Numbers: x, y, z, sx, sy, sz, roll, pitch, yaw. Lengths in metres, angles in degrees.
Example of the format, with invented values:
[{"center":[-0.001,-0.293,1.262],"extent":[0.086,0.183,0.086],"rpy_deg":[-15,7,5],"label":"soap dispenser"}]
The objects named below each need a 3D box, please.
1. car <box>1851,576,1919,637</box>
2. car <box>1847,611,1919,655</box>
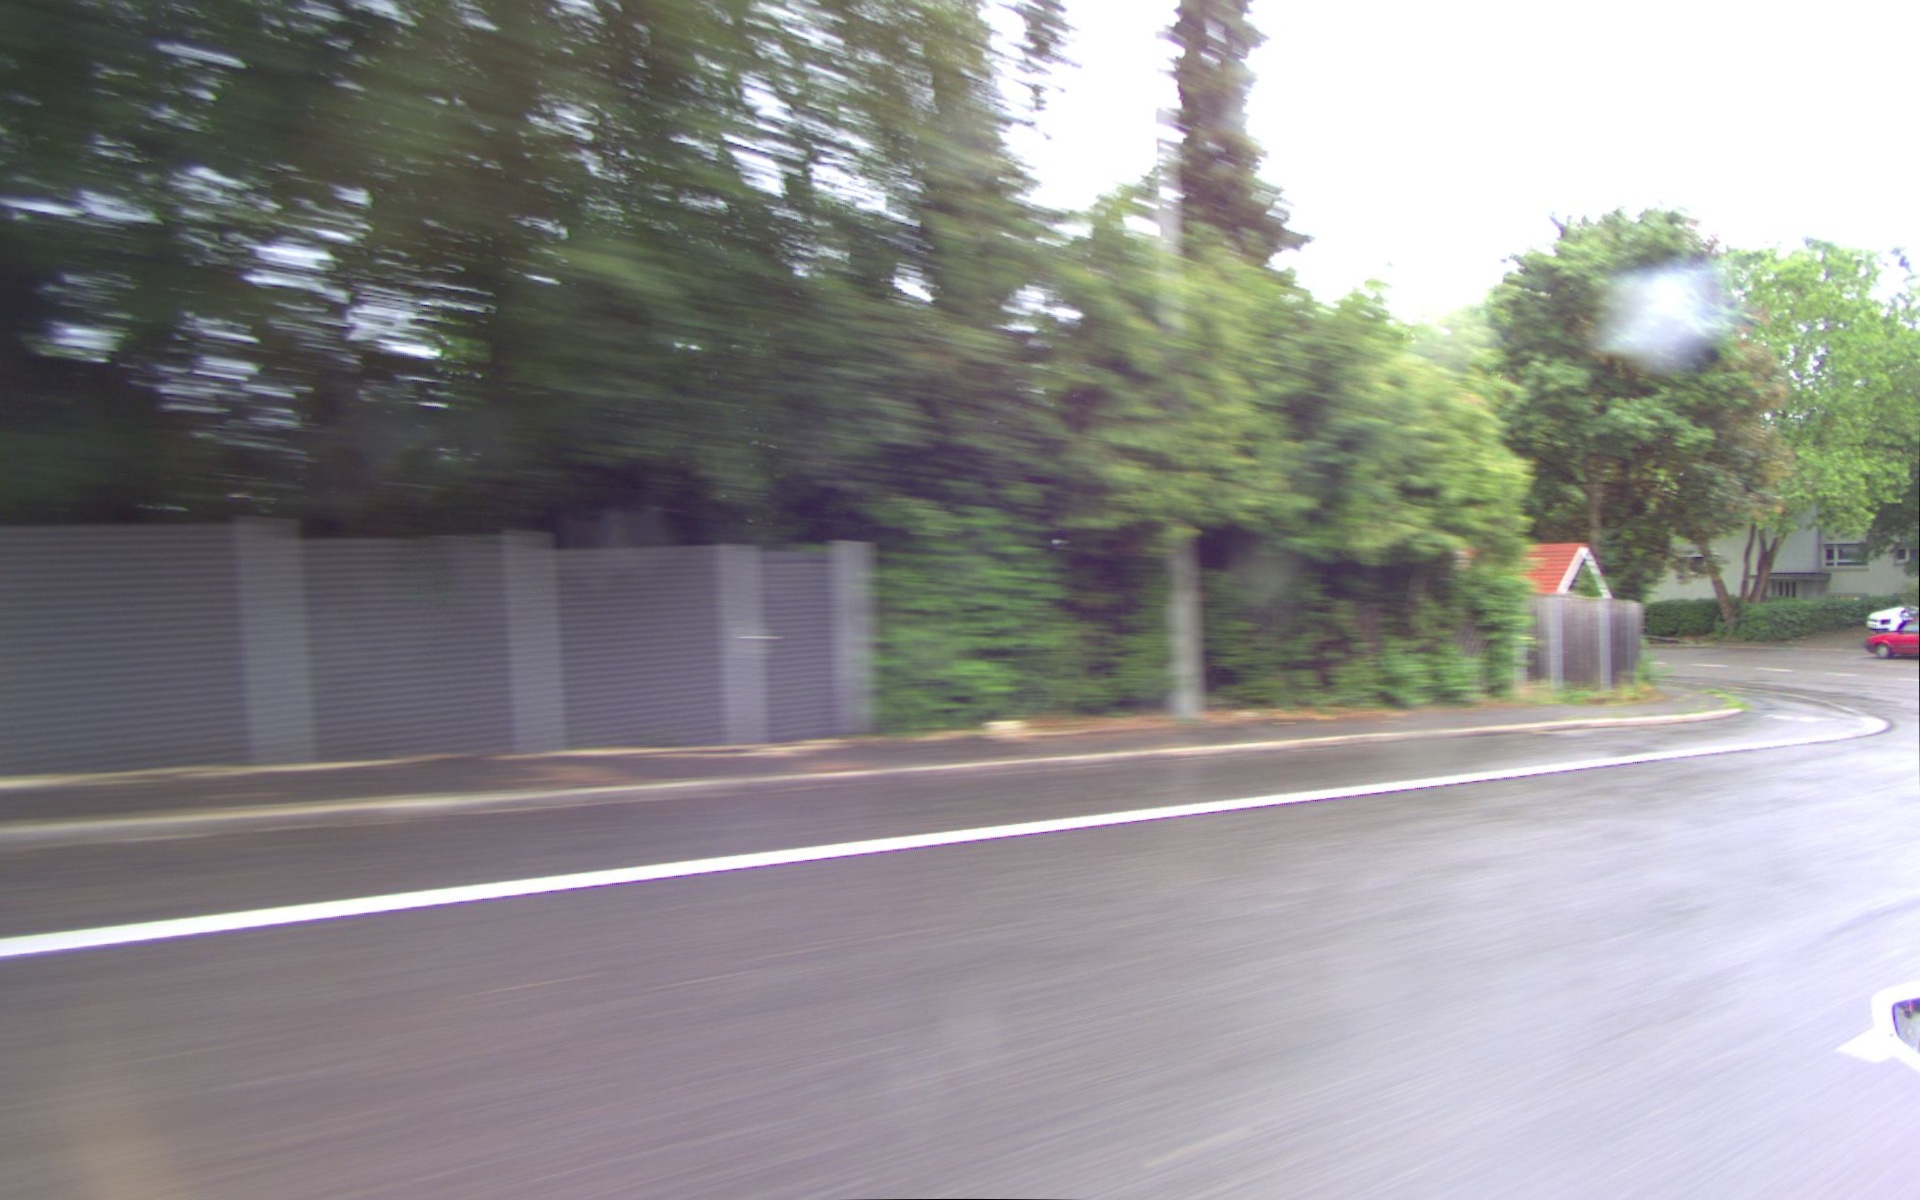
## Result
[{"center":[36.569,0.003,37.503],"extent":[4.340,1.864,1.996],"rpy_deg":[-14,-5,29],"label":"car"},{"center":[32.008,1.080,33.125],"extent":[1.750,1.385,4.197],"rpy_deg":[-2,-2,0],"label":"car"}]
